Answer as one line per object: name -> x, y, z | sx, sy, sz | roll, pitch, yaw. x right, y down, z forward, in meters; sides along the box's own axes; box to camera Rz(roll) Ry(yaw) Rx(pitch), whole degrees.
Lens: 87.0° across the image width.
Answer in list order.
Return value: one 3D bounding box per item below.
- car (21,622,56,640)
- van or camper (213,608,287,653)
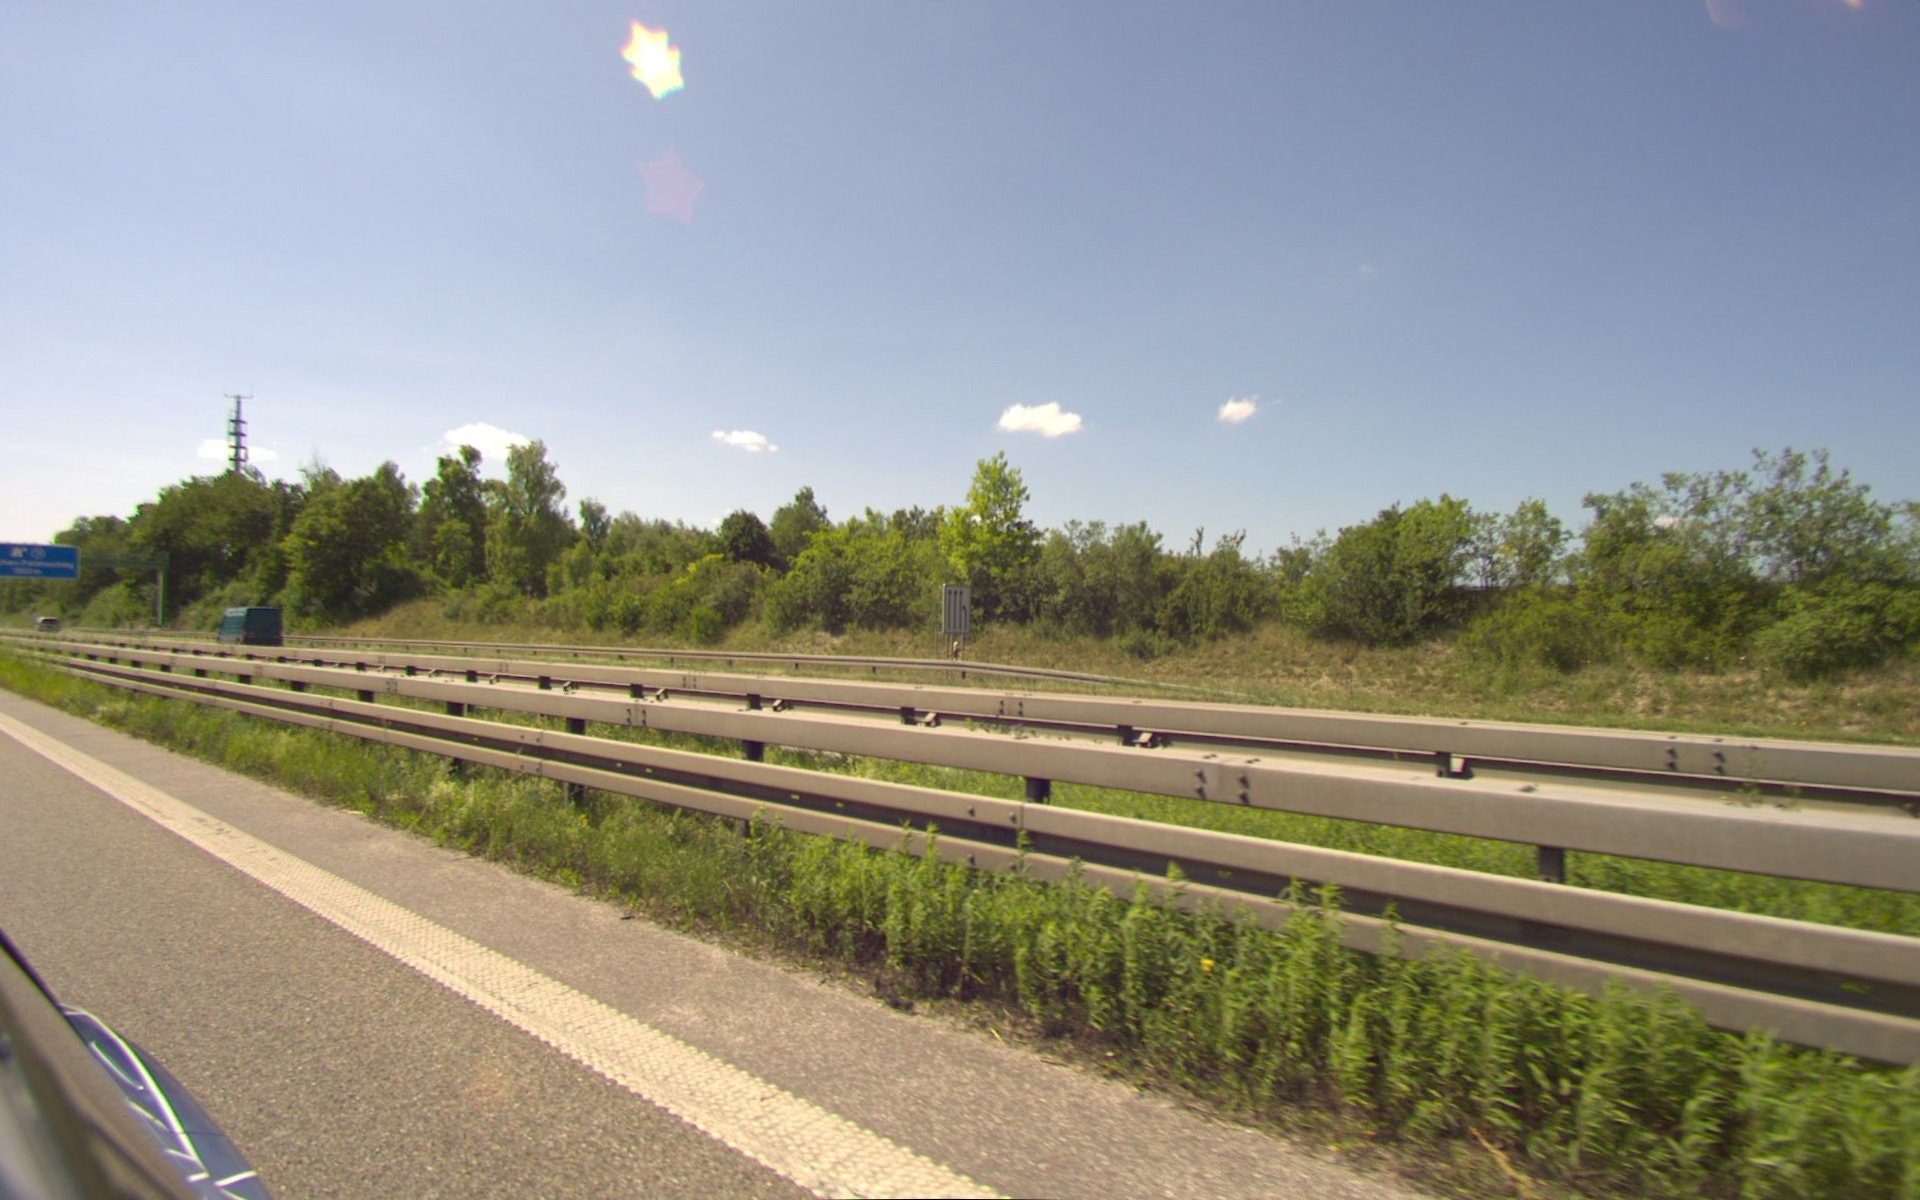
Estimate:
car -> -97.922, 3.251, 107.513 | 5.328, 1.849, 1.973 | -1, -4, 40
van or camper -> -40.455, 1.752, 57.568 | 6.238, 2.410, 1.973 | -1, -3, 41
